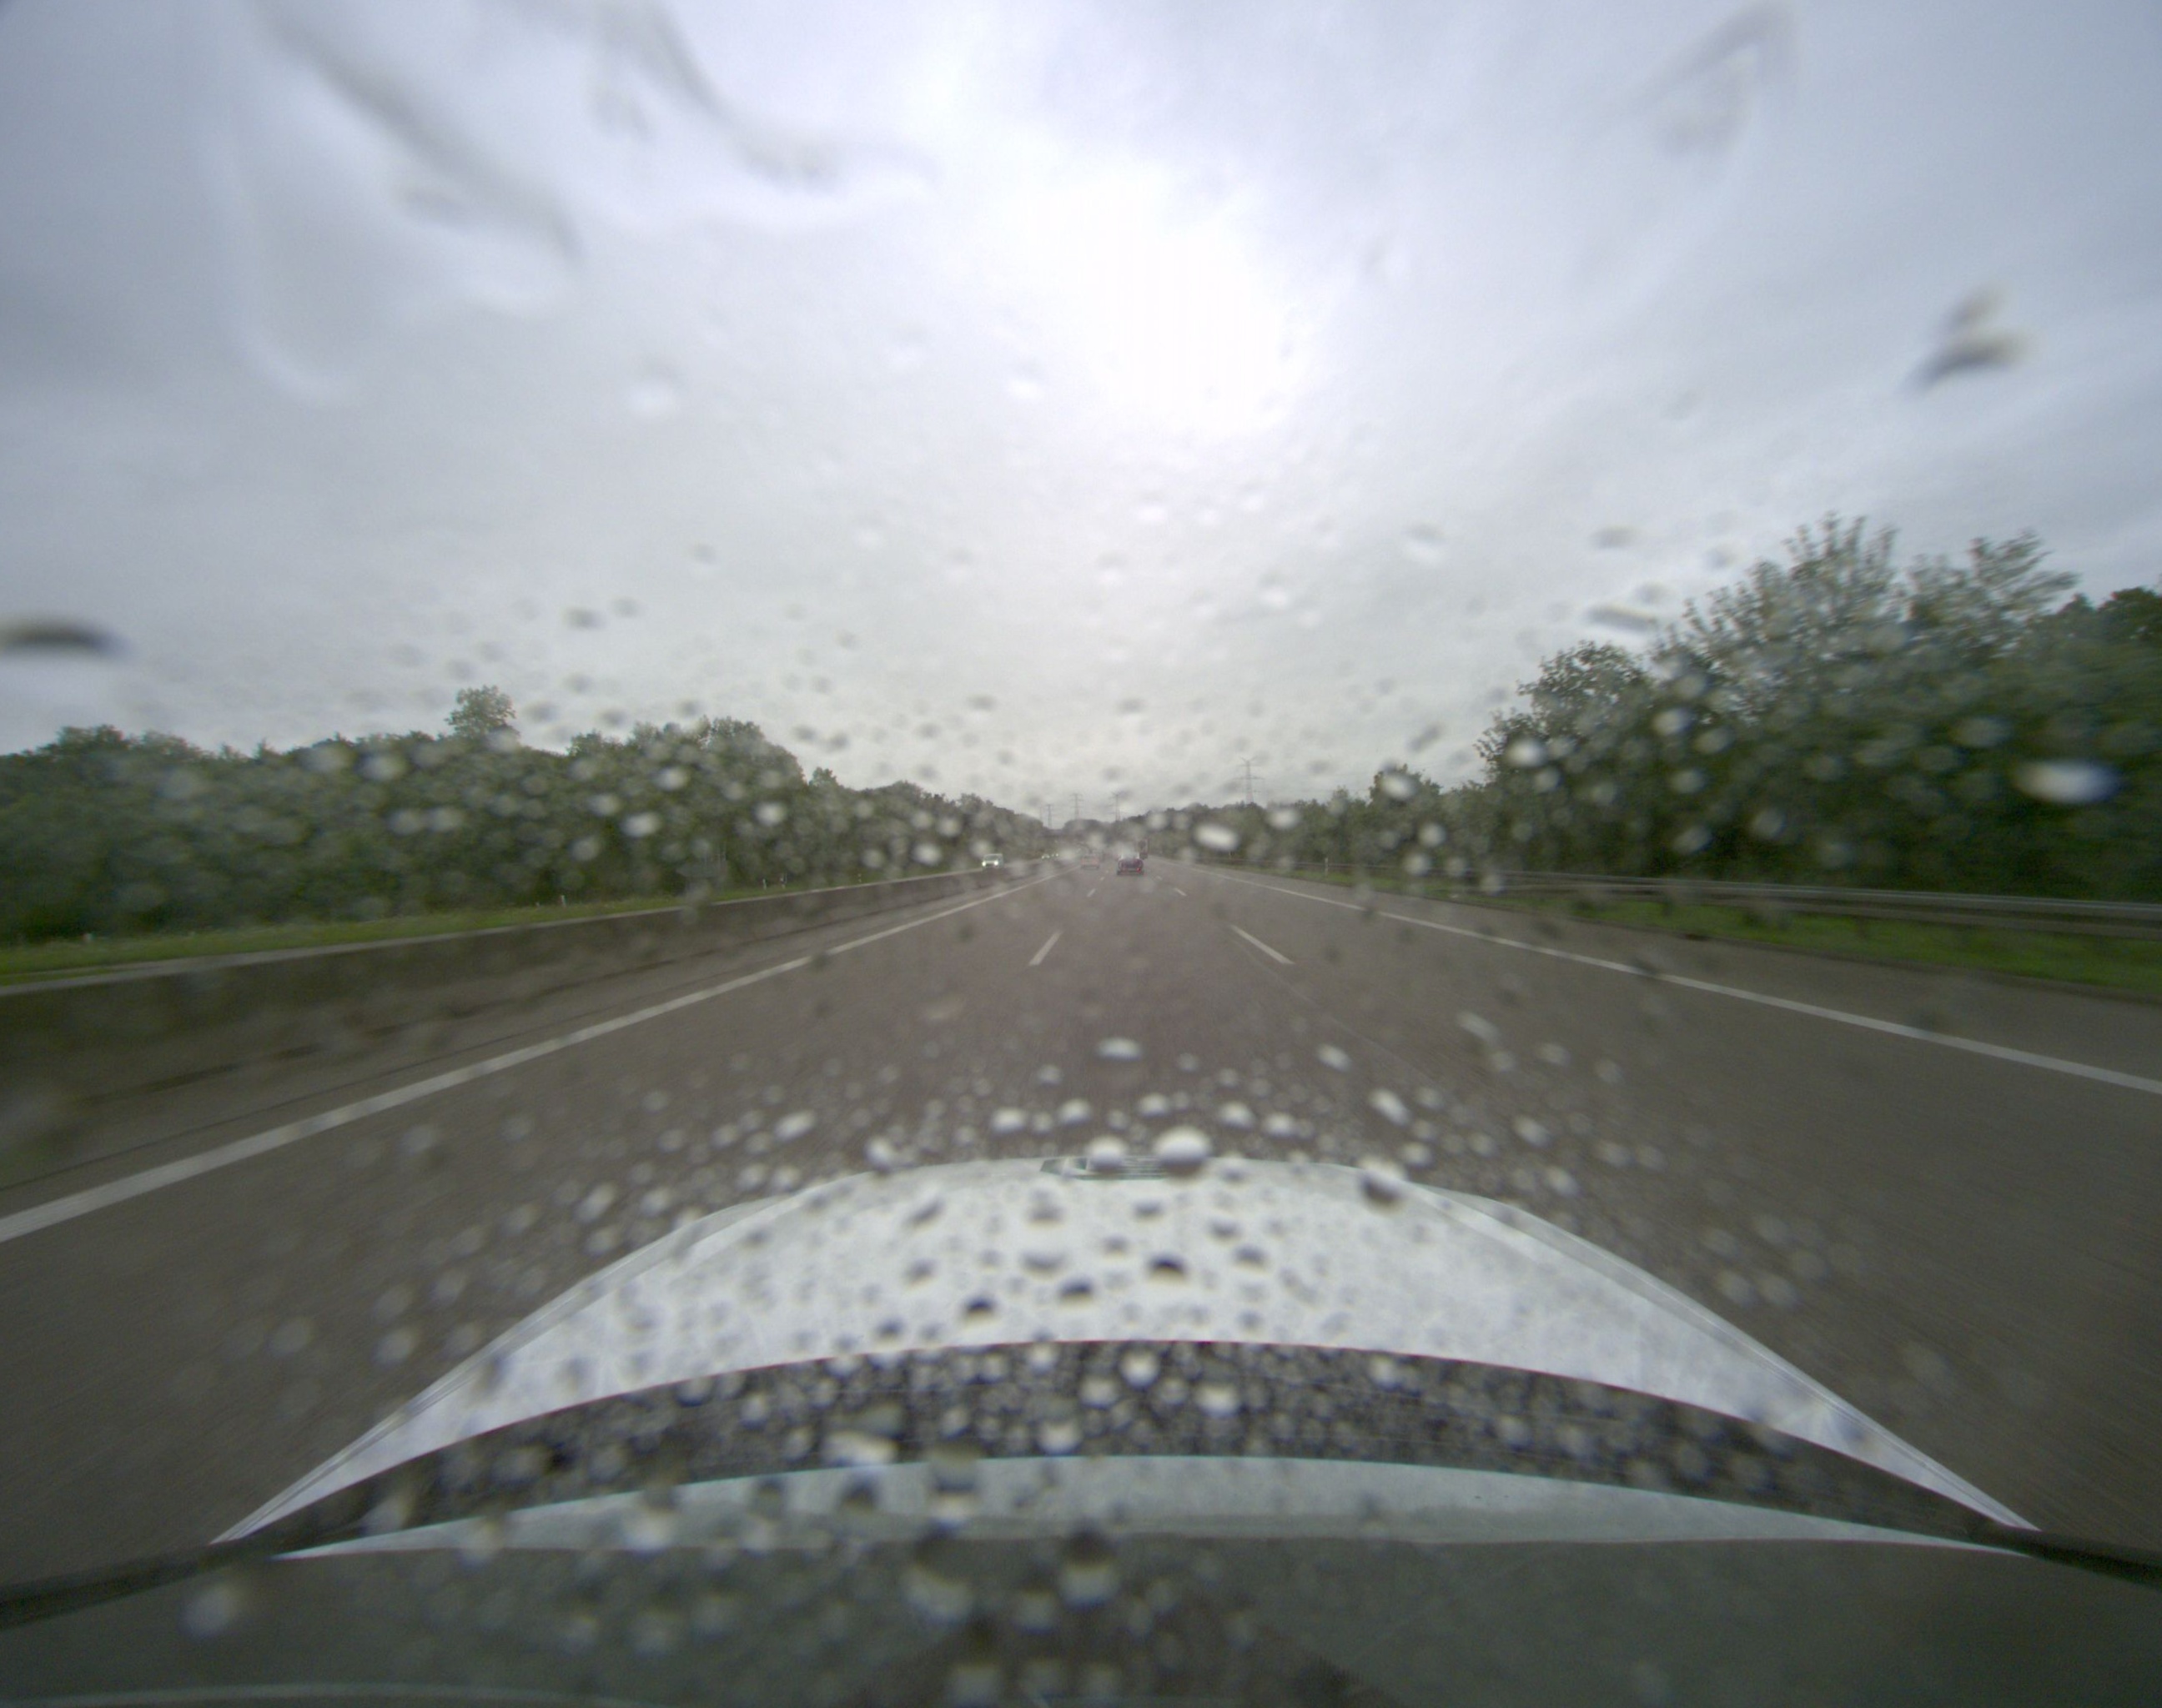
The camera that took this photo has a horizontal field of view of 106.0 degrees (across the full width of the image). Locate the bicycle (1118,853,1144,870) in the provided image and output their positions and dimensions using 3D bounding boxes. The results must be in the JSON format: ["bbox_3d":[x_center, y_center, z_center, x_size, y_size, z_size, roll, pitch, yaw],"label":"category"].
[{"bbox_3d":[3.423,0.512,55.730,1.746,1.090,0.914,-1,-1,1],"label":"bicycle"}]

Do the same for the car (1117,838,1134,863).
[{"bbox_3d":[5.266,-0.429,96.457,1.985,2.864,4.003,0,-1,3],"label":"car"}]

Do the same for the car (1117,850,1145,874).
[{"bbox_3d":[3.534,0.544,58.682,1.853,1.568,4.966,-1,1,2],"label":"car"}]

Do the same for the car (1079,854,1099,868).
[{"bbox_3d":[0.824,0.650,80.521,1.860,1.288,4.001,-3,0,1],"label":"car"}]

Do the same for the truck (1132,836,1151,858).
[{"bbox_3d":[12.581,-1.528,171.490,3.588,4.332,13.211,-2,0,3],"label":"truck"}]

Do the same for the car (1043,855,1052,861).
[{"bbox_3d":[-8.877,1.150,215.618,1.791,1.450,4.631,-3,0,2],"label":"car"}]

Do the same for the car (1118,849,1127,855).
[{"bbox_3d":[10.800,-0.551,212.825,1.986,1.574,4.001,-3,0,1],"label":"car"}]

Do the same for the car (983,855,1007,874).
[{"bbox_3d":[-10.048,1.221,95.521,1.986,2.013,5.762,-3,0,1],"label":"car"}]

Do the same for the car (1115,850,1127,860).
[{"bbox_3d":[6.235,0.109,128.288,1.849,1.422,4.003,-1,1,2],"label":"car"}]

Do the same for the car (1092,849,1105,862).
[{"bbox_3d":[2.520,0.210,117.914,1.839,1.772,4.001,0,-1,1],"label":"car"}]
